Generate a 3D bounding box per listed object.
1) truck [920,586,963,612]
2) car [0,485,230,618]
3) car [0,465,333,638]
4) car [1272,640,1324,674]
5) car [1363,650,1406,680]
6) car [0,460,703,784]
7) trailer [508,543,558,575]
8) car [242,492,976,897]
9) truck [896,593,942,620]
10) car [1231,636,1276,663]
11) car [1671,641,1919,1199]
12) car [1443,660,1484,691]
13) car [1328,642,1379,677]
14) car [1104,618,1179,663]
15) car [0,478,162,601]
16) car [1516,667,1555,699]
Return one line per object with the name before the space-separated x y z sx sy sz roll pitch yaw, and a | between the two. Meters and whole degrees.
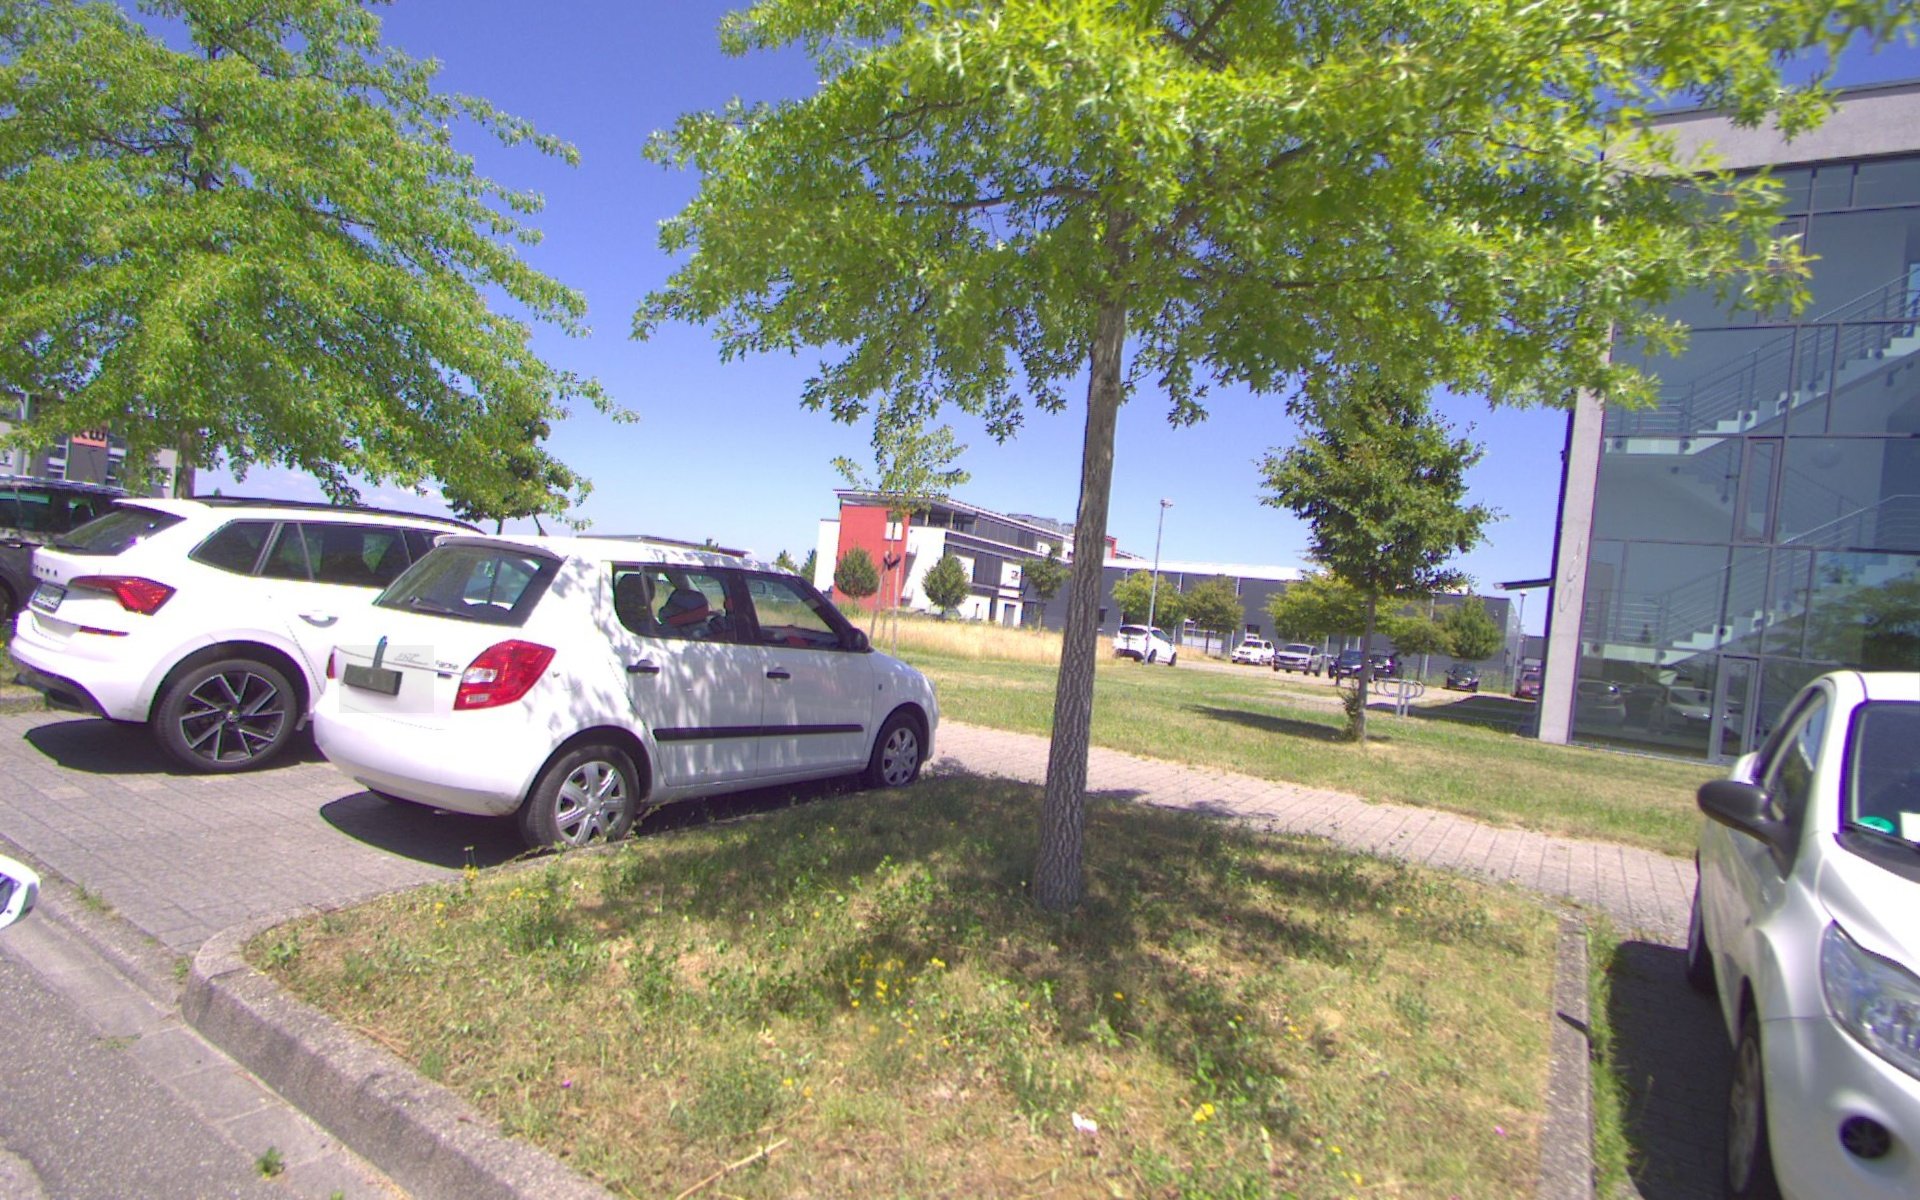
truck | -1.645 -0.071 90.907 1.967 2.039 3.991 6 0 31
car | -11.545 -0.642 12.172 1.619 1.472 4.047 6 1 32
car | -9.420 -0.510 10.929 1.665 1.646 4.047 6 1 32
car | 17.828 2.997 53.004 1.690 1.529 3.991 6 0 30
car | 25.478 3.886 60.316 1.691 1.529 3.990 6 0 32
car | -3.943 0.151 6.980 1.752 1.573 3.832 7 1 37
trailer | -42.836 -4.096 100.999 2.195 2.633 3.991 6 0 30
car | -1.691 0.422 6.048 1.750 1.543 3.837 6 1 32
truck | -3.706 0.638 92.164 1.967 2.038 4.347 6 0 31
car | 19.026 3.224 65.067 1.691 1.470 3.990 6 0 32
car | 3.296 0.968 3.092 1.585 1.482 3.616 7 2 34
car | 29.397 4.393 58.696 1.691 1.529 3.990 6 0 32
car | 20.047 3.032 51.202 1.690 1.529 3.991 6 0 30
car | 7.208 1.619 39.716 1.691 1.529 3.325 6 0 32
car | -13.810 -0.931 13.299 1.880 1.581 4.721 6 1 28
car | 32.434 4.612 56.640 1.691 1.529 3.990 6 0 32
